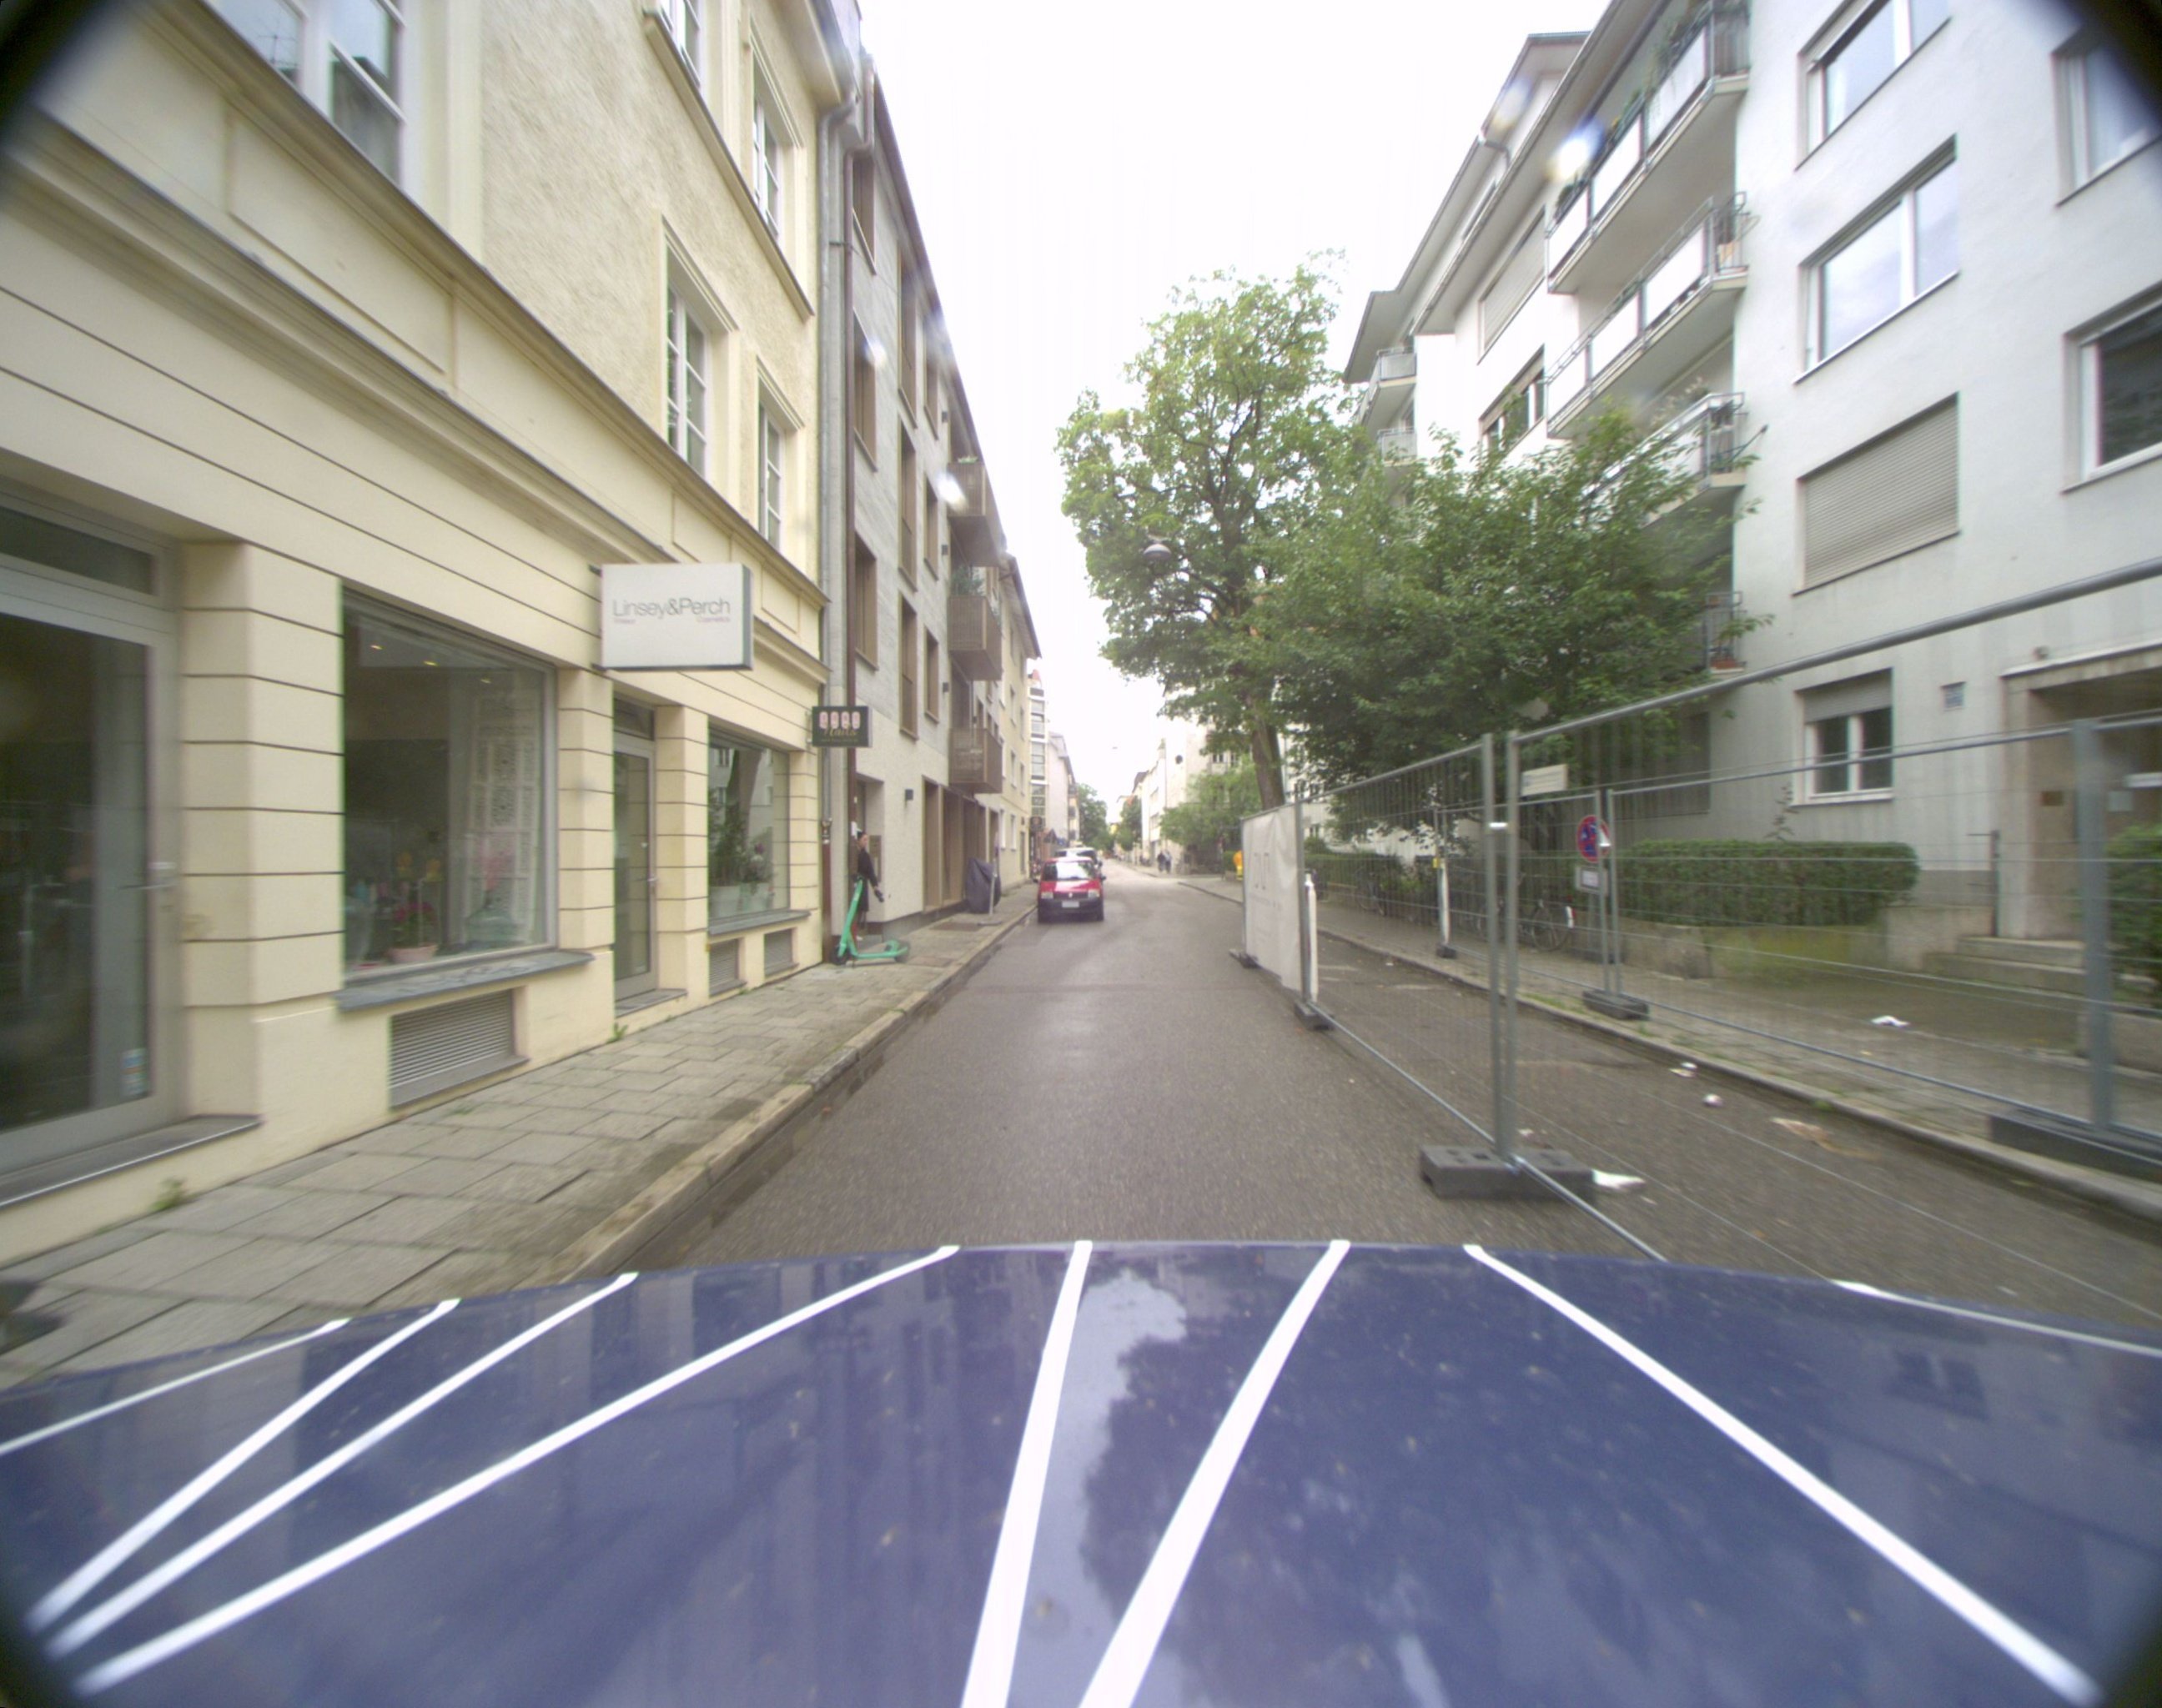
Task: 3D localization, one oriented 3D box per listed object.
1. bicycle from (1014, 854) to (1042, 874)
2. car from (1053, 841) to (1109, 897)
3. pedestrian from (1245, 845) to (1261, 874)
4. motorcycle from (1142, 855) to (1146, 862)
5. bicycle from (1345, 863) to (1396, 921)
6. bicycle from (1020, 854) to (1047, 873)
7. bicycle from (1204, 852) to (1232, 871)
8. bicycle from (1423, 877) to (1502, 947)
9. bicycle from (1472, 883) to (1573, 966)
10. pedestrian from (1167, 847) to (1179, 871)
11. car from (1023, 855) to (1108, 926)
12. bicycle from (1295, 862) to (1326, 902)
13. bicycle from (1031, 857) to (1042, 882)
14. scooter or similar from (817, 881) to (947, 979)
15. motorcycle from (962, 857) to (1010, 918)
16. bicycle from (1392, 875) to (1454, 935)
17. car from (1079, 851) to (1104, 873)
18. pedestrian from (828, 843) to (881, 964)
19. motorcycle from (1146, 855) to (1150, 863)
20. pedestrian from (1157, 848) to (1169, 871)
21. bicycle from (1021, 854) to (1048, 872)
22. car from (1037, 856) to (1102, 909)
[{"bbox_3d":[-3.545,0.661,50.753,1.807,1.315,0.586,-1,2,-24],"label":"bicycle"},{"bbox_3d":[-0.029,0.542,30.360,1.995,1.965,4.884,-2,0,-1],"label":"car"},{"bbox_3d":[10.439,0.333,46.210,0.691,1.668,0.859,-3,1,0],"label":"pedestrian"},{"bbox_3d":[8.588,0.581,103.576,0.324,0.968,1.961,-2,0,2],"label":"motorcycle"},{"bbox_3d":[6.389,0.806,16.843,0.489,1.145,1.699,-3,1,3],"label":"bicycle"},{"bbox_3d":[-3.208,0.636,51.458,1.752,1.180,0.443,2,1,7],"label":"bicycle"},{"bbox_3d":[9.422,0.528,52.332,1.811,1.253,0.432,-1,1,0],"label":"bicycle"},{"bbox_3d":[6.382,0.941,12.817,0.444,0.973,1.853,-3,1,3],"label":"bicycle"},{"bbox_3d":[6.306,0.962,10.953,0.444,0.973,1.816,-3,1,3],"label":"bicycle"},{"bbox_3d":[6.932,0.386,57.544,0.695,1.718,0.841,-4,1,2],"label":"pedestrian"},{"bbox_3d":[-0.287,0.842,19.232,1.776,1.515,4.067,-2,0,3],"label":"car"},{"bbox_3d":[6.721,0.794,22.294,0.347,1.065,1.780,-4,0,2],"label":"bicycle"},{"bbox_3d":[-2.298,0.785,39.353,0.411,1.207,1.819,2,2,2],"label":"bicycle"},{"bbox_3d":[-2.595,0.957,10.054,0.493,1.177,1.611,3,1,42],"label":"scooter or similar"},{"bbox_3d":[-2.424,0.819,19.562,0.807,1.415,1.932,5,1,2],"label":"motorcycle"},{"bbox_3d":[6.445,0.927,14.377,0.437,0.973,1.699,-3,1,3],"label":"bicycle"},{"bbox_3d":[0.768,0.569,57.207,1.725,1.606,4.454,-2,0,0],"label":"car"},{"bbox_3d":[-3.238,0.692,10.892,0.546,1.676,0.661,1,1,-1],"label":"pedestrian"},{"bbox_3d":[8.330,0.556,93.982,0.324,0.968,1.961,-2,0,2],"label":"motorcycle"},{"bbox_3d":[6.194,0.410,57.571,0.721,1.718,0.841,-4,1,2],"label":"pedestrian"},{"bbox_3d":[-3.305,0.600,53.570,1.872,1.222,0.594,1,2,31],"label":"bicycle"},{"bbox_3d":[-0.278,0.854,24.475,1.772,1.453,4.381,-2,0,3],"label":"car"}]
